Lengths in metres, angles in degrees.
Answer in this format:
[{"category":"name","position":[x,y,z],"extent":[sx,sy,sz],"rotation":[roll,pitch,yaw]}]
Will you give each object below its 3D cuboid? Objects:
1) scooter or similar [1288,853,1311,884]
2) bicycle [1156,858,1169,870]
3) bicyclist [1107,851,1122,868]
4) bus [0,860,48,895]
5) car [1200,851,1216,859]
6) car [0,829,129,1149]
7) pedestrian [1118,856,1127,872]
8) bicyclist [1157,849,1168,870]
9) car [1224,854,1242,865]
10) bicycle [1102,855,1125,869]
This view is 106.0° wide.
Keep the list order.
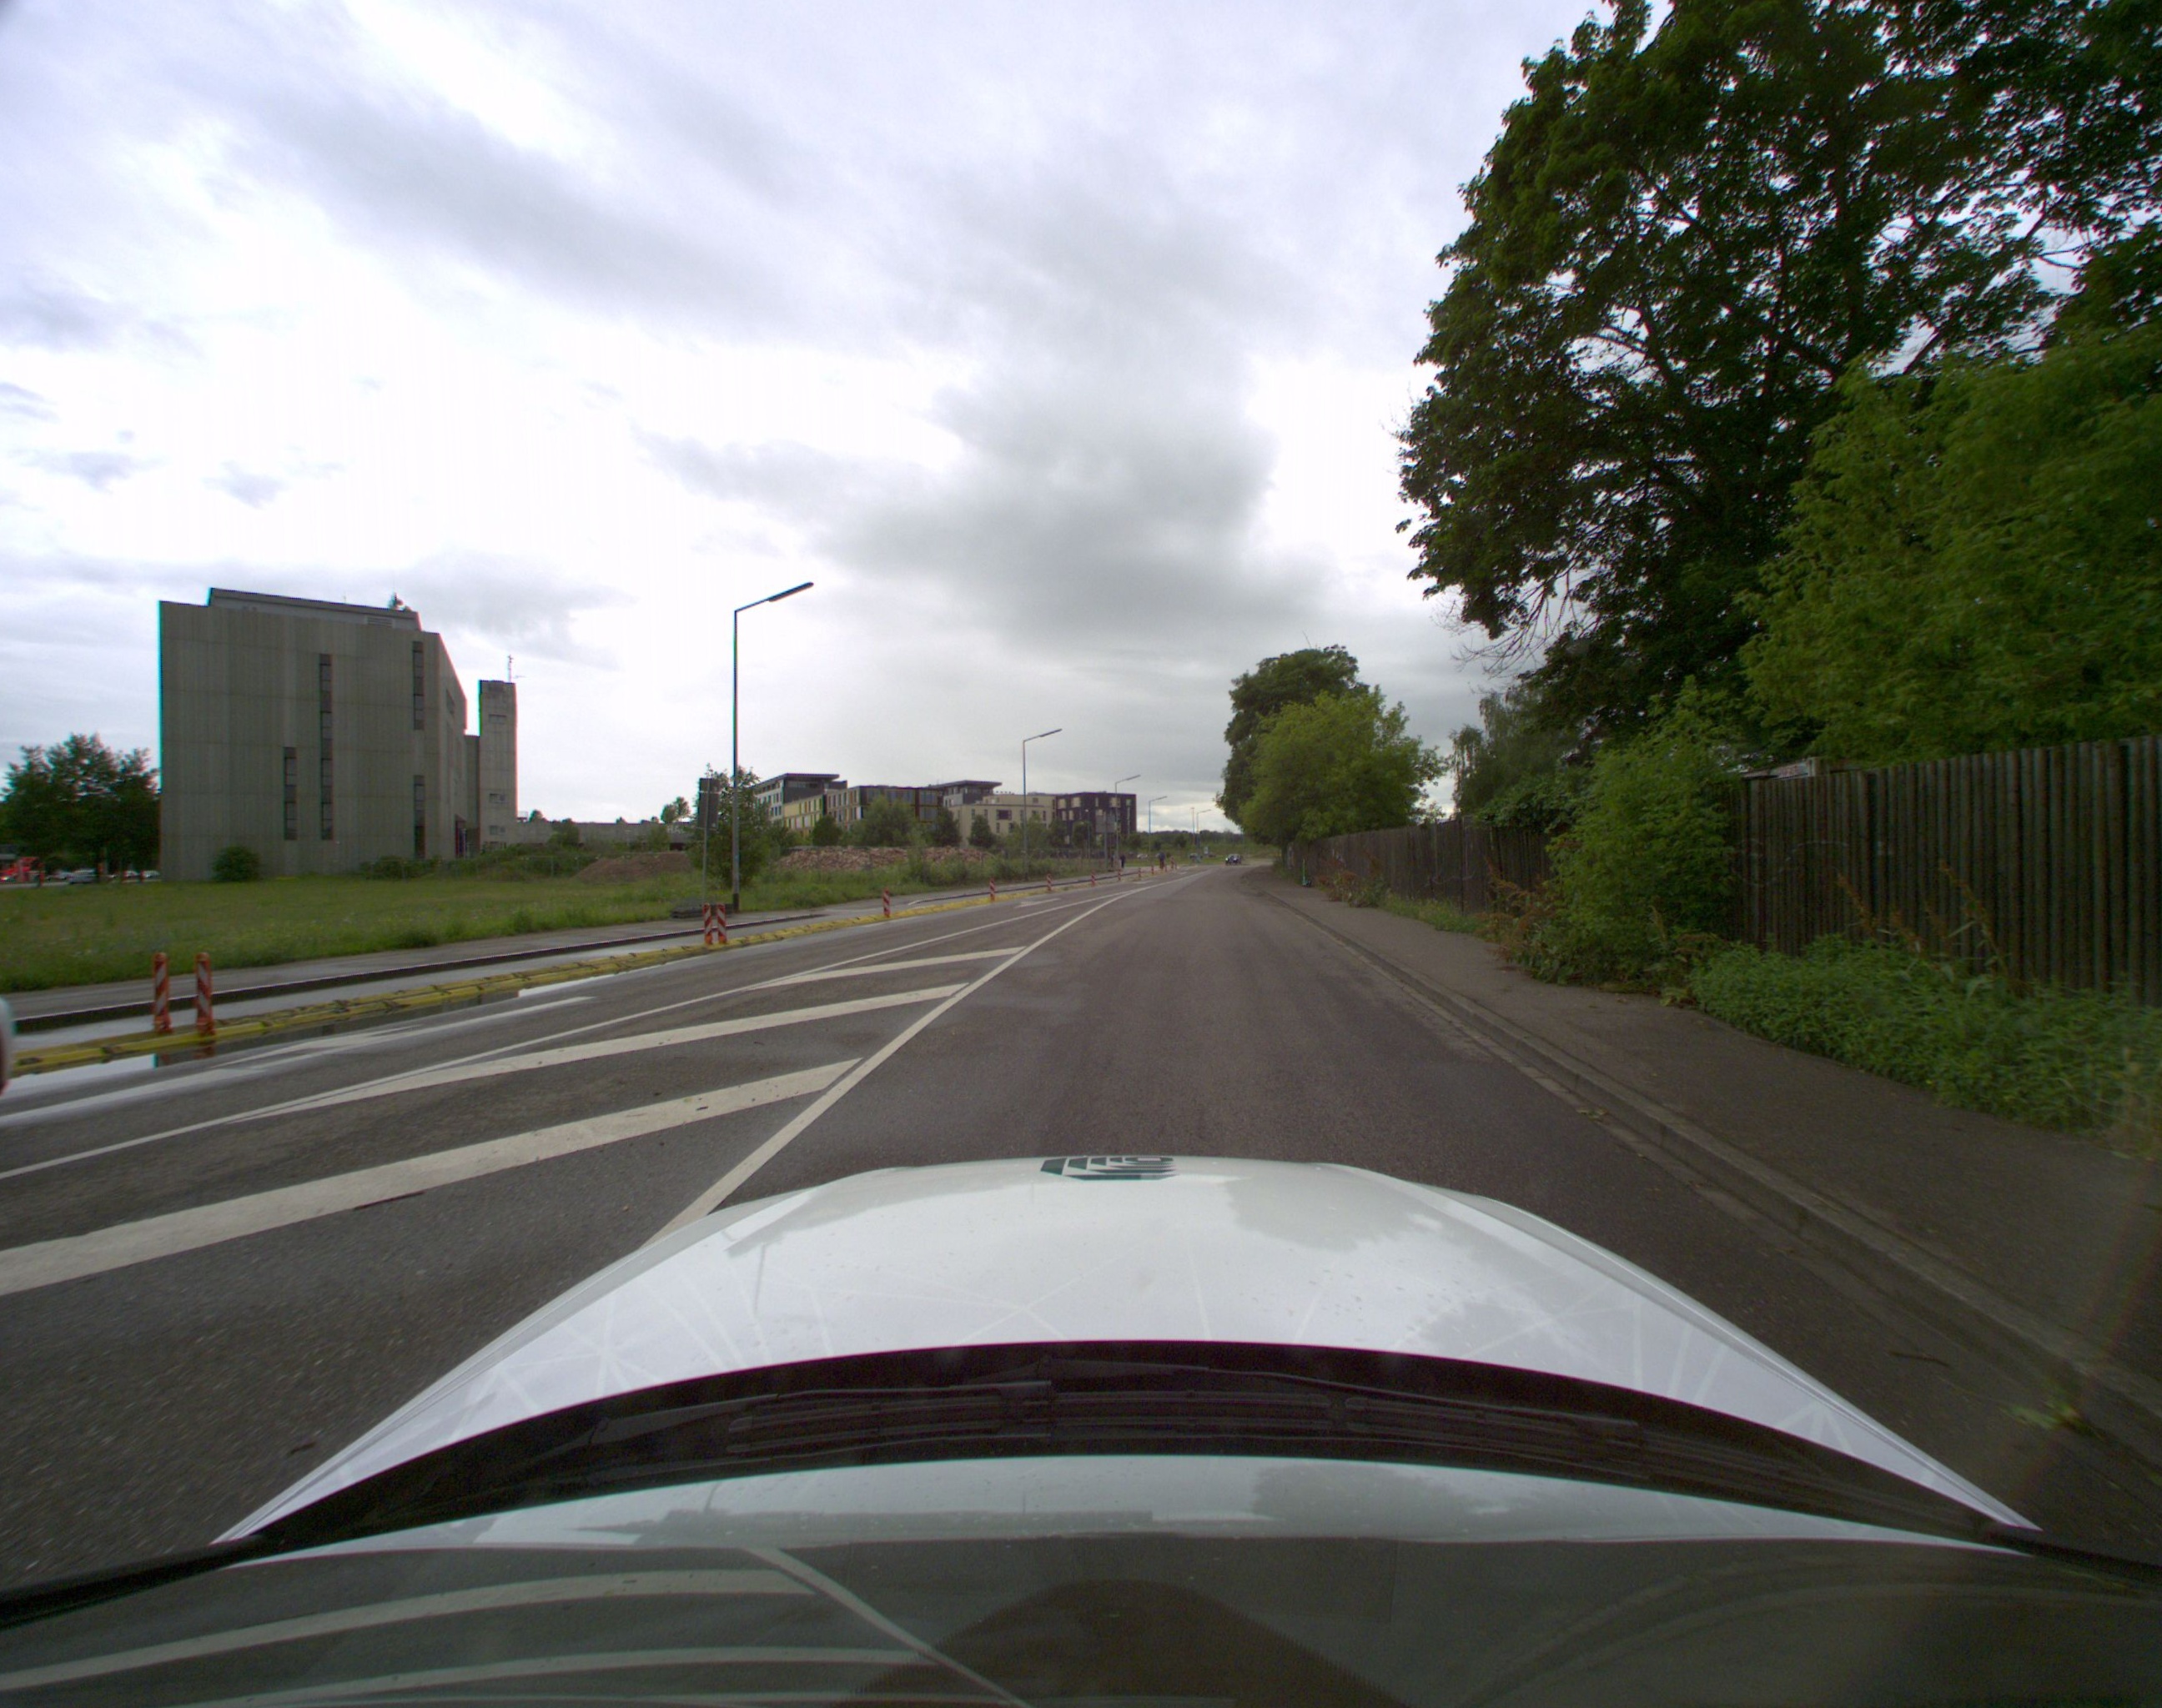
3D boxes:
[{"category":"scooter or similar","position":[9.822,0.628,36.705],"extent":[0.687,1.312,2.358],"rotation":[-1,1,8]},{"category":"bicycle","position":[7.968,0.996,79.755],"extent":[0.877,1.052,2.478],"rotation":[-1,1,13]},{"category":"bicyclist","position":[3.991,0.645,96.294],"extent":[1.403,1.899,1.069],"rotation":[-1,0,-22]},{"category":"bus","position":[-127.793,2.756,97.368],"extent":[2.747,3.982,9.781],"rotation":[-1,1,-36]},{"category":"car","position":[32.708,0.293,210.319],"extent":[2.008,1.822,3.958],"rotation":[-1,1,-34]},{"category":"car","position":[-6.581,0.715,2.784],"extent":[1.739,1.587,3.915],"rotation":[-3,-1,13]},{"category":"pedestrian","position":[4.794,1.120,94.459],"extent":[0.838,1.782,1.080],"rotation":[-1,0,10]},{"category":"bicyclist","position":[7.967,0.574,79.797],"extent":[0.855,2.013,1.182],"rotation":[-1,0,13]},{"category":"car","position":[24.177,0.875,129.149],"extent":[1.864,1.566,4.382],"rotation":[-1,1,23]},{"category":"bicycle","position":[3.873,0.975,96.248],"extent":[2.501,1.584,1.079],"rotation":[-1,0,-21]}]
